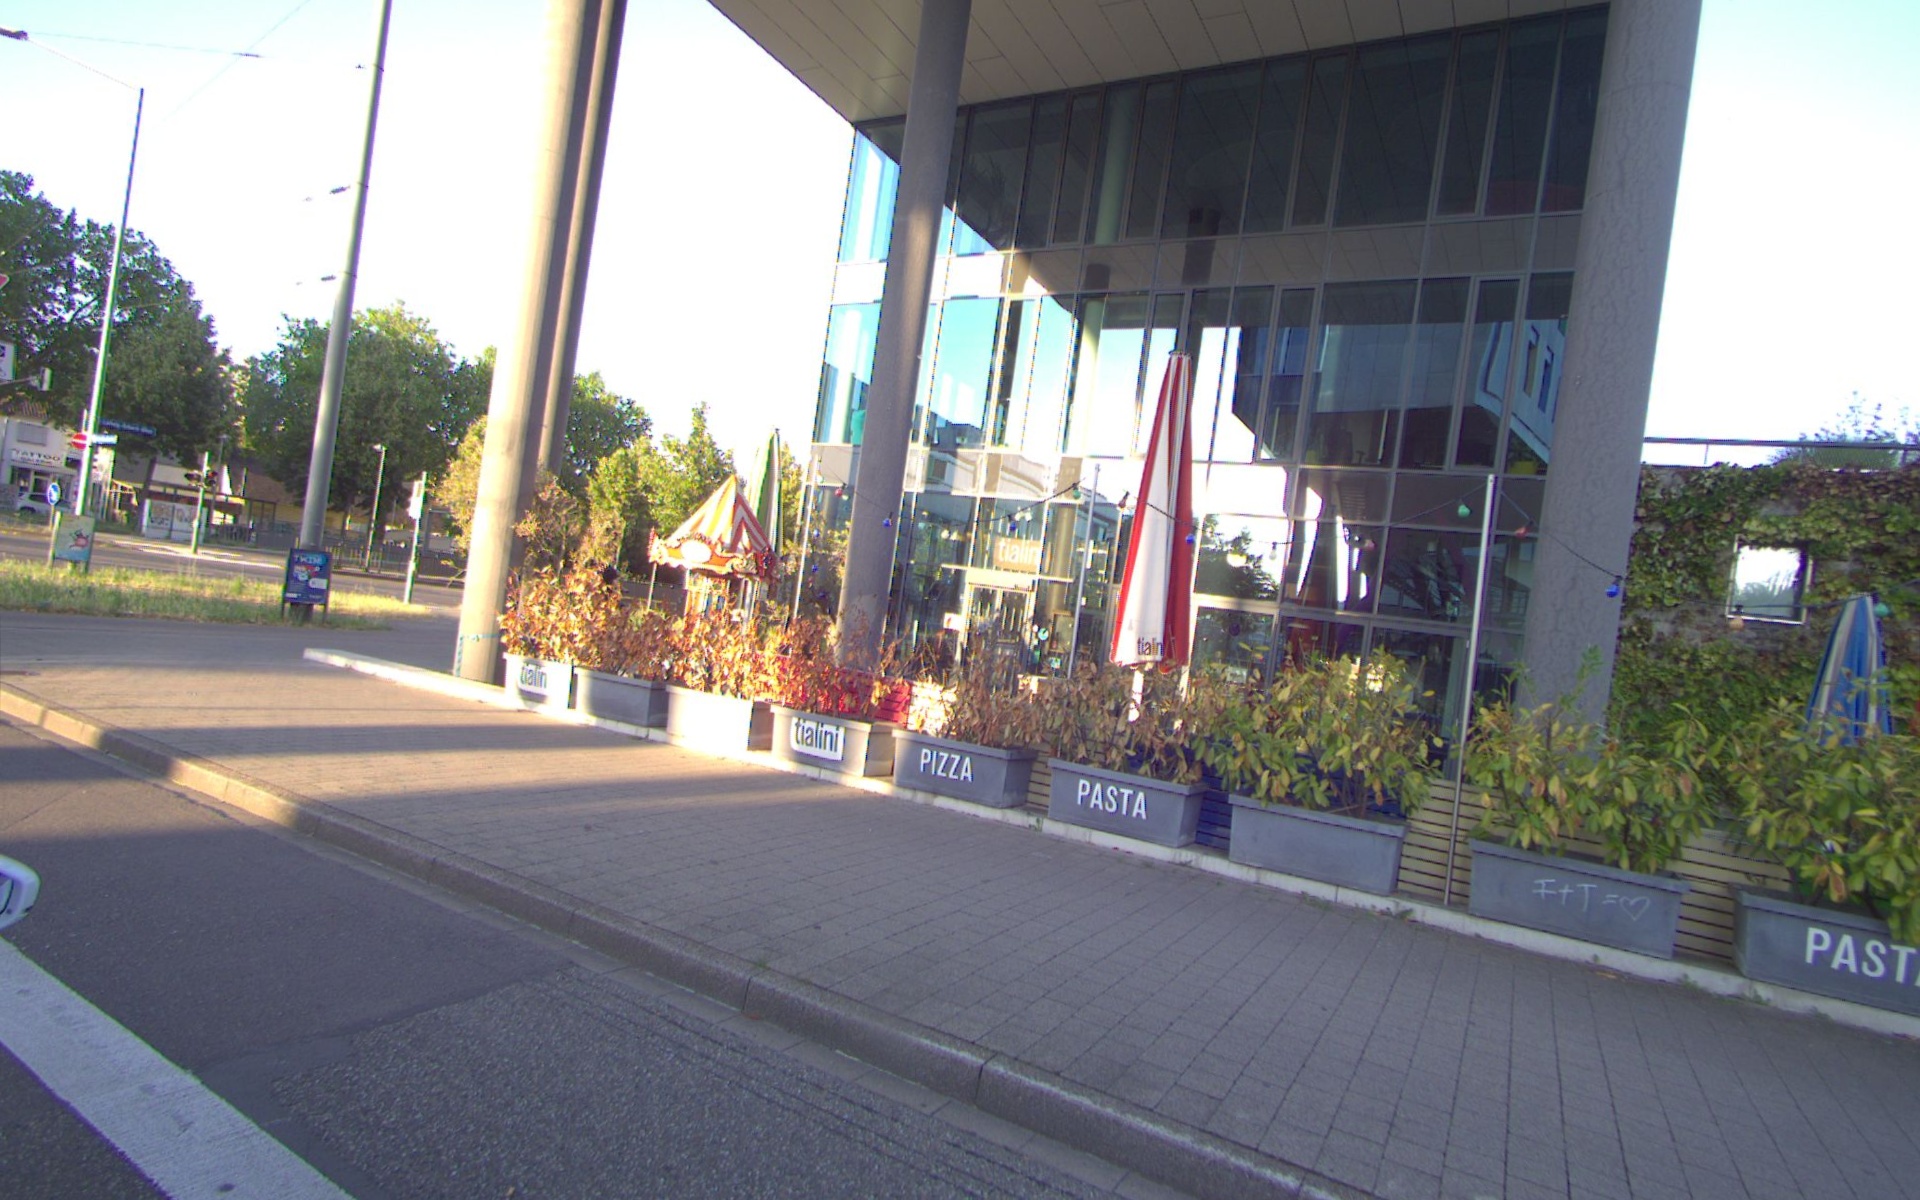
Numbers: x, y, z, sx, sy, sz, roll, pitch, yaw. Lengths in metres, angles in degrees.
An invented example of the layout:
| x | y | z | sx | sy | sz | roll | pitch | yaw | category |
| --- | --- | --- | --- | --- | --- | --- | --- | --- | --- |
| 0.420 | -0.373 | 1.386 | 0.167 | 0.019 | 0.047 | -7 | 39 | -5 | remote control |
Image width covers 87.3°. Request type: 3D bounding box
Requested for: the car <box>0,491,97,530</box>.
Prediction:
| x | y | z | sx | sy | sz | roll | pitch | yaw | category |
| --- | --- | --- | --- | --- | --- | --- | --- | --- | --- |
| -50.549 | -4.942 | 55.824 | 1.641 | 1.456 | 3.736 | 6 | -2 | 41 | car |

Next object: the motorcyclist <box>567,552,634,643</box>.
| x | y | z | sx | sy | sz | roll | pitch | yaw | category |
| --- | --- | --- | --- | --- | --- | --- | --- | --- | --- |
| -7.474 | -0.043 | 20.929 | 0.665 | 1.767 | 0.901 | 8 | 0 | 31 | motorcyclist |

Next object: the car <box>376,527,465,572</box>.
| x | y | z | sx | sy | sz | roll | pitch | yaw | category |
| --- | --- | --- | --- | --- | --- | --- | --- | --- | --- |
| -42.621 | -3.974 | 79.593 | 2.197 | 2.581 | 5.594 | 7 | -2 | 39 | car |

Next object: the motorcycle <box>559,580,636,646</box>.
| x | y | z | sx | sy | sz | roll | pitch | yaw | category |
| --- | --- | --- | --- | --- | --- | --- | --- | --- | --- |
| -7.515 | 0.279 | 20.912 | 0.557 | 1.202 | 1.313 | 8 | -1 | 31 | motorcycle |
